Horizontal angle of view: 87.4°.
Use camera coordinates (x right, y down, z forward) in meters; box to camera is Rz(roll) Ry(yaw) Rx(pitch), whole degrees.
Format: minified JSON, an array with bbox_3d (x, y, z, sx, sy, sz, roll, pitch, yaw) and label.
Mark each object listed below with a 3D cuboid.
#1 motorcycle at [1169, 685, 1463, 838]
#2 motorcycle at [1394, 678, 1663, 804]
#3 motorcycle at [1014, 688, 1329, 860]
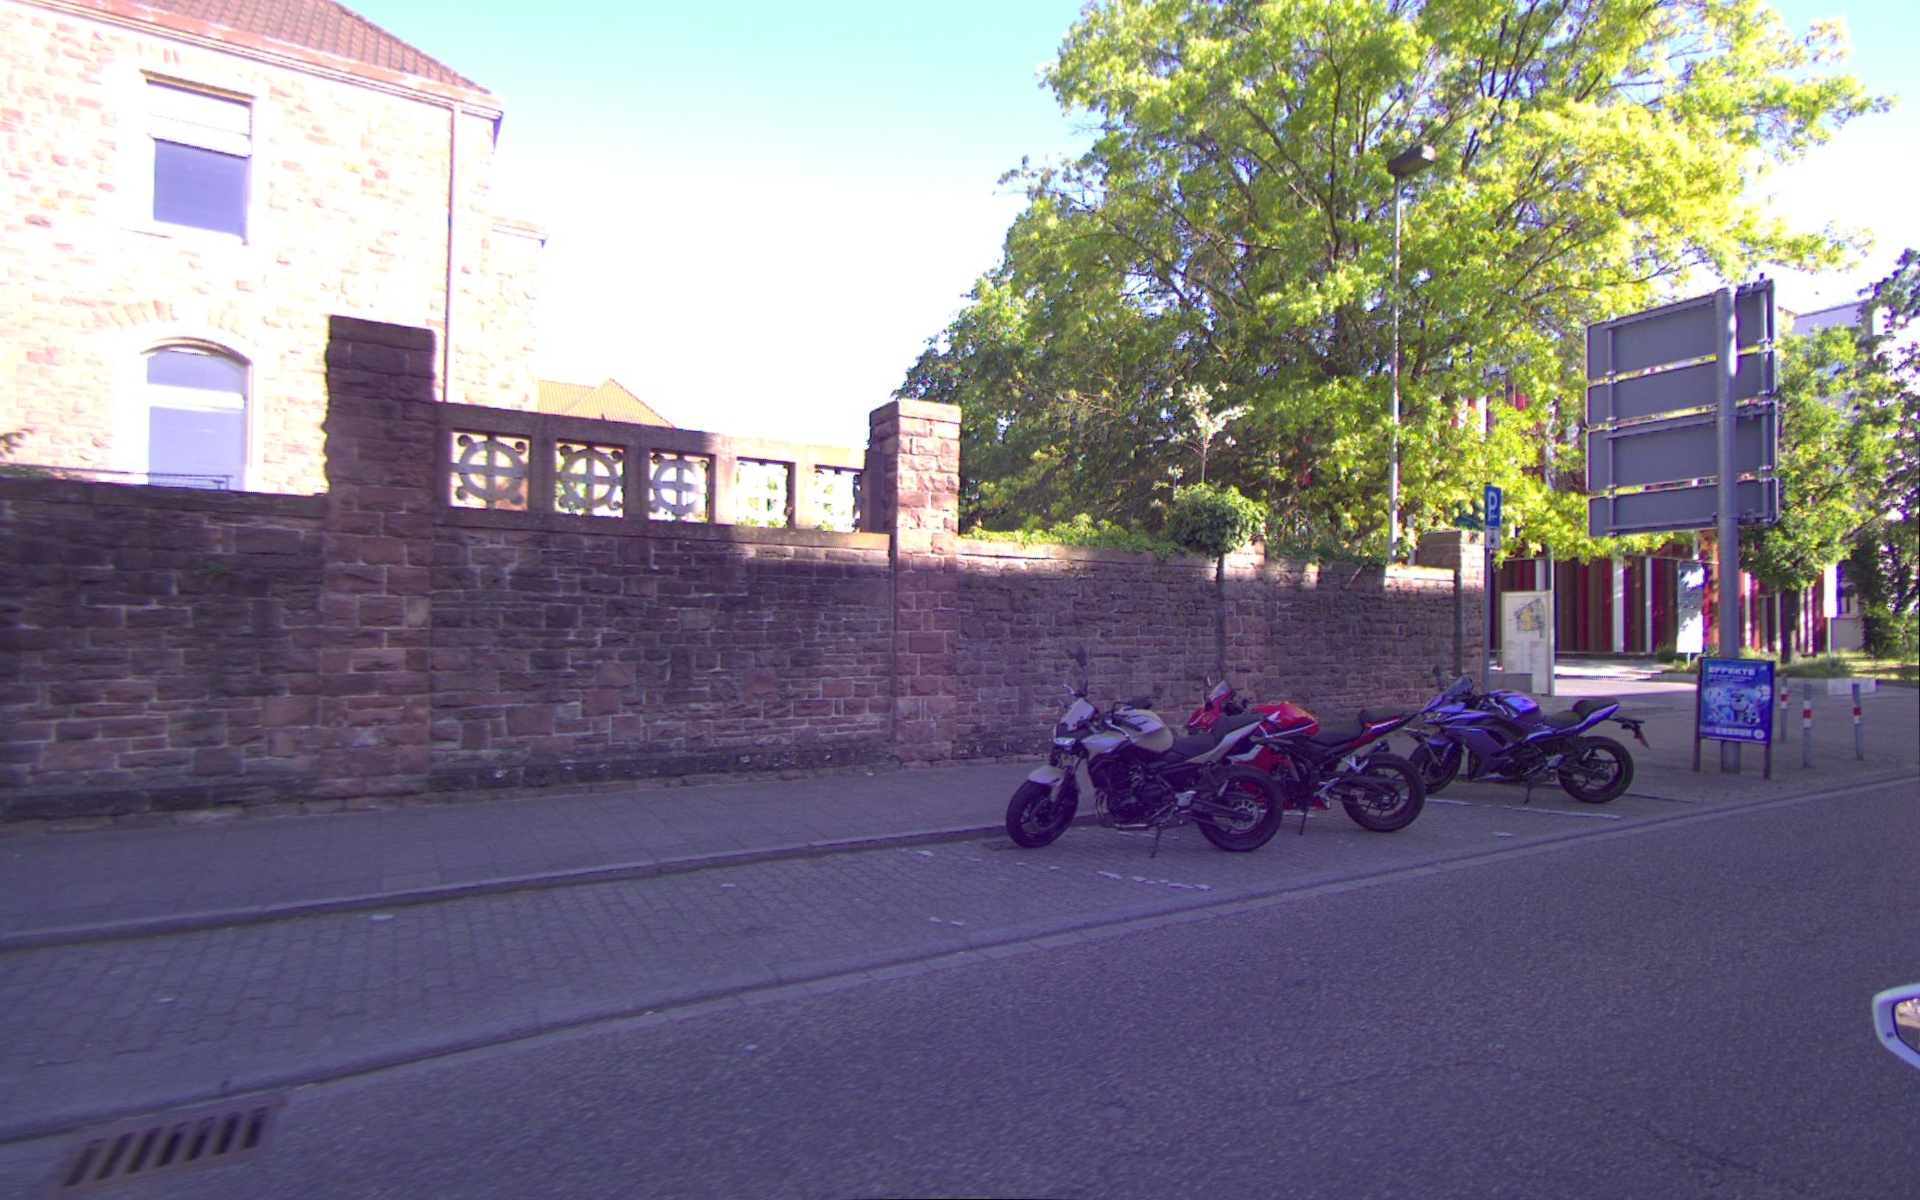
[{"bbox_3d":[2.699,1.223,7.731,2.049,1.053,0.532,1,0,1],"label":"motorcycle"},{"bbox_3d":[5.134,1.265,9.157,2.085,1.046,0.601,0,-1,4],"label":"motorcycle"},{"bbox_3d":[1.420,1.181,6.943,2.049,1.053,0.532,1,0,1],"label":"motorcycle"}]
